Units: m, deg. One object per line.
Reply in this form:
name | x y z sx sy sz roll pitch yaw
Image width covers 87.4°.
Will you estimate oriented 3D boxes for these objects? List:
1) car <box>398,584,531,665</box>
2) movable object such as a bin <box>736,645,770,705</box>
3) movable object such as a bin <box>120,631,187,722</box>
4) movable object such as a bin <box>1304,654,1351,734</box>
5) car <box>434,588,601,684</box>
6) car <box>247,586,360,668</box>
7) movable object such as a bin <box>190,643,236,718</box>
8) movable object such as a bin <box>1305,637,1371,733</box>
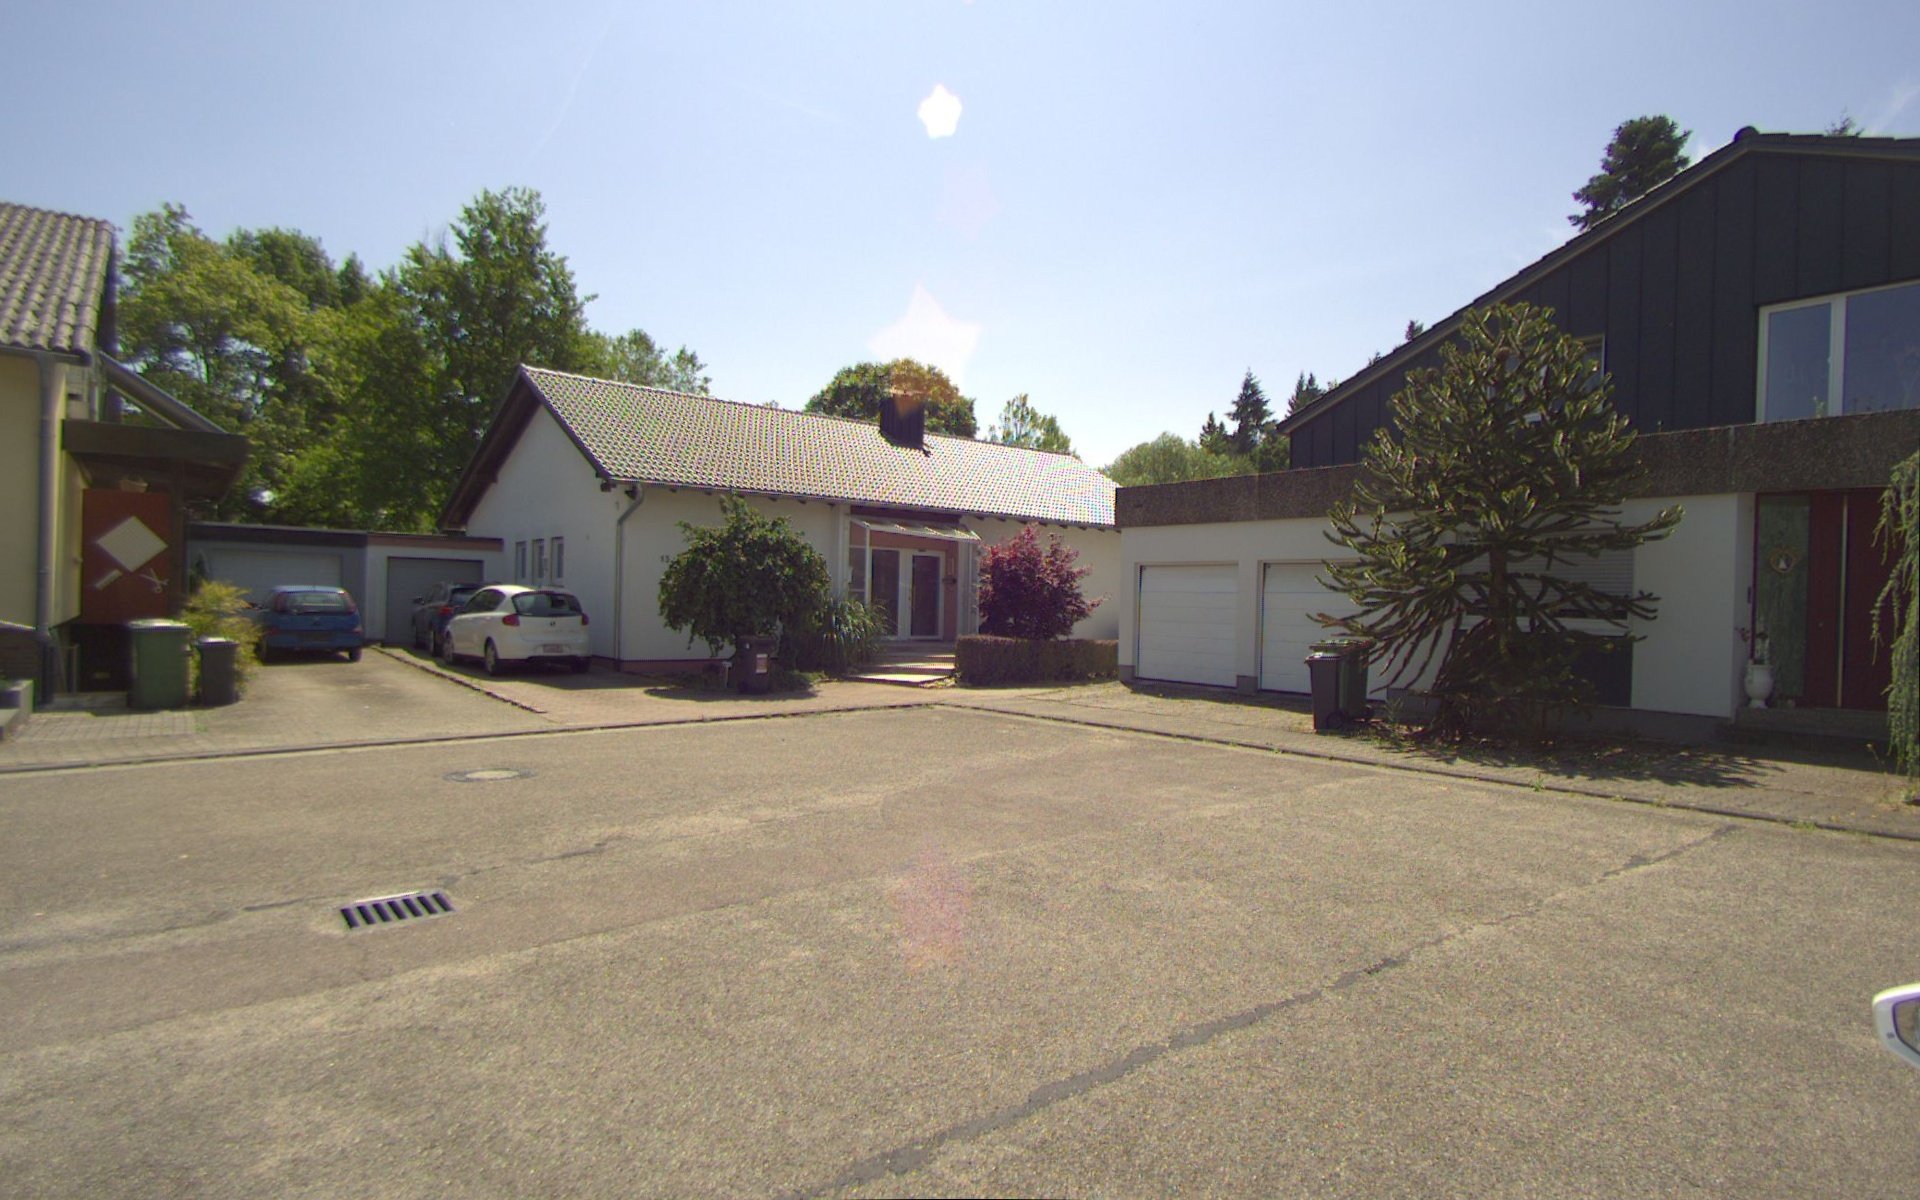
car | -11.257 0.484 22.685 1.912 1.629 3.955 1 1 -38
movable object such as a bin | -3.282 1.182 15.923 0.372 0.903 0.386 0 1 -40
movable object such as a bin | -9.943 0.926 12.382 0.485 1.055 0.589 1 1 43
movable object such as a bin | 4.675 1.185 12.763 0.514 0.962 0.389 1 0 25
car | -8.435 0.611 18.981 1.739 1.589 3.950 1 0 -42
car | -13.393 0.504 20.428 1.606 1.474 3.217 2 1 -39
movable object such as a bin | -9.509 1.010 12.782 0.420 0.903 0.405 1 1 43
movable object such as a bin | 5.041 1.117 13.402 0.546 1.219 0.627 1 0 -39
